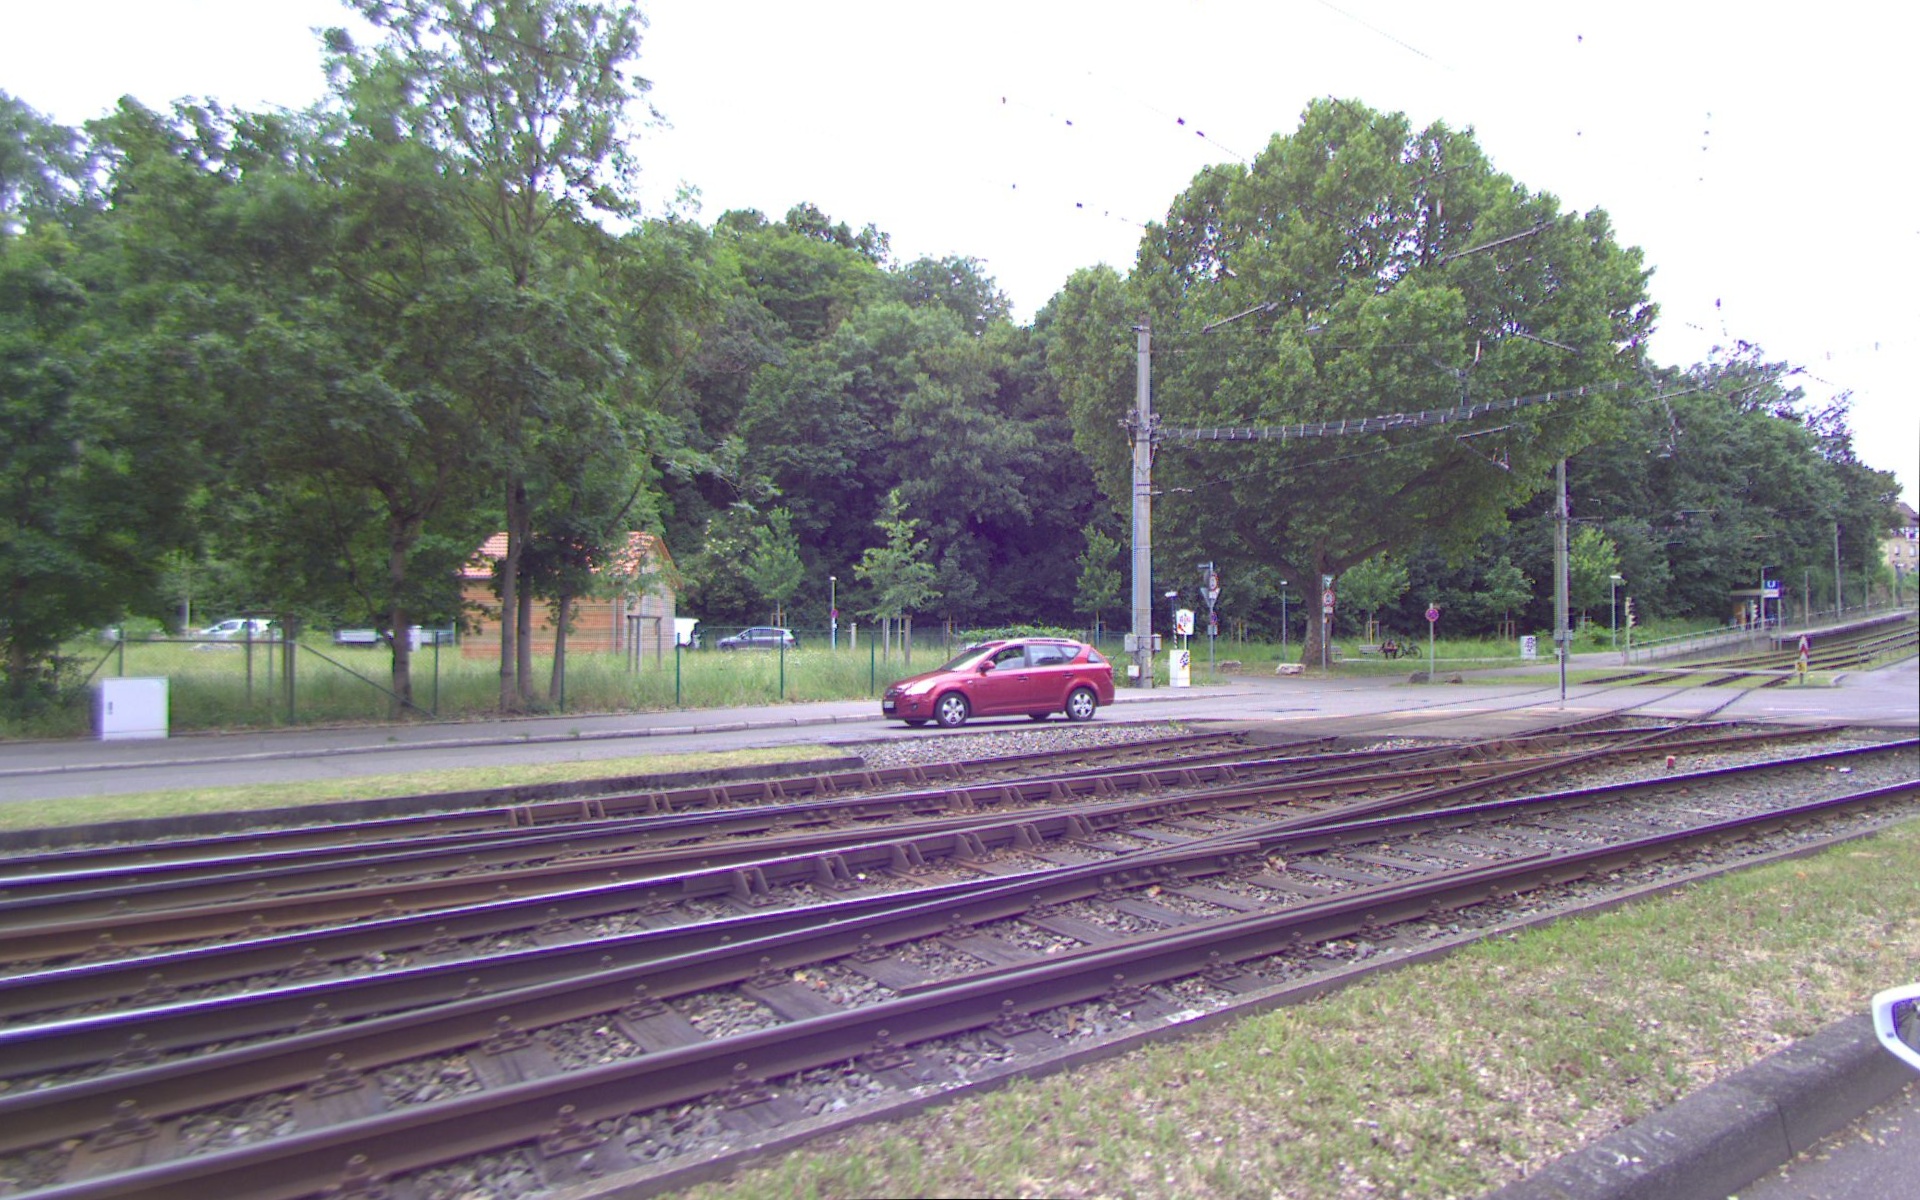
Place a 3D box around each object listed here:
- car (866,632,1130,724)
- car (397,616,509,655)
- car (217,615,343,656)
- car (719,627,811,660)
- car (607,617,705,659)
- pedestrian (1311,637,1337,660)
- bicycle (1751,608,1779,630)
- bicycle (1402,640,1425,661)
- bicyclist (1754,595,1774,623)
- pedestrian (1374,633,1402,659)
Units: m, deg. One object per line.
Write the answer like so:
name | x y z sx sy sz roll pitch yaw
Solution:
car | 0.695 1.439 18.513 4.439 1.534 1.989 1 -6 -25
car | -22.428 1.581 44.537 3.921 1.684 2.000 0 -2 -1
car | -28.866 1.507 42.741 3.921 1.684 2.000 0 -2 -1
car | -9.631 2.135 49.898 4.321 1.603 1.998 1 -2 -7
car | -15.016 1.890 49.780 4.320 2.040 1.999 0 -2 -5
pedestrian | 19.083 2.543 52.674 1.059 1.110 0.906 2 0 5
bicycle | 54.366 1.276 67.851 2.970 1.361 0.817 -2 -1 -39
bicycle | 23.957 2.639 53.073 0.662 1.025 1.654 2 -1 7
bicyclist | 54.337 0.606 67.851 1.042 1.874 0.815 -2 0 -38
pedestrian | 22.664 2.439 53.216 1.035 1.284 1.117 2 -1 8
